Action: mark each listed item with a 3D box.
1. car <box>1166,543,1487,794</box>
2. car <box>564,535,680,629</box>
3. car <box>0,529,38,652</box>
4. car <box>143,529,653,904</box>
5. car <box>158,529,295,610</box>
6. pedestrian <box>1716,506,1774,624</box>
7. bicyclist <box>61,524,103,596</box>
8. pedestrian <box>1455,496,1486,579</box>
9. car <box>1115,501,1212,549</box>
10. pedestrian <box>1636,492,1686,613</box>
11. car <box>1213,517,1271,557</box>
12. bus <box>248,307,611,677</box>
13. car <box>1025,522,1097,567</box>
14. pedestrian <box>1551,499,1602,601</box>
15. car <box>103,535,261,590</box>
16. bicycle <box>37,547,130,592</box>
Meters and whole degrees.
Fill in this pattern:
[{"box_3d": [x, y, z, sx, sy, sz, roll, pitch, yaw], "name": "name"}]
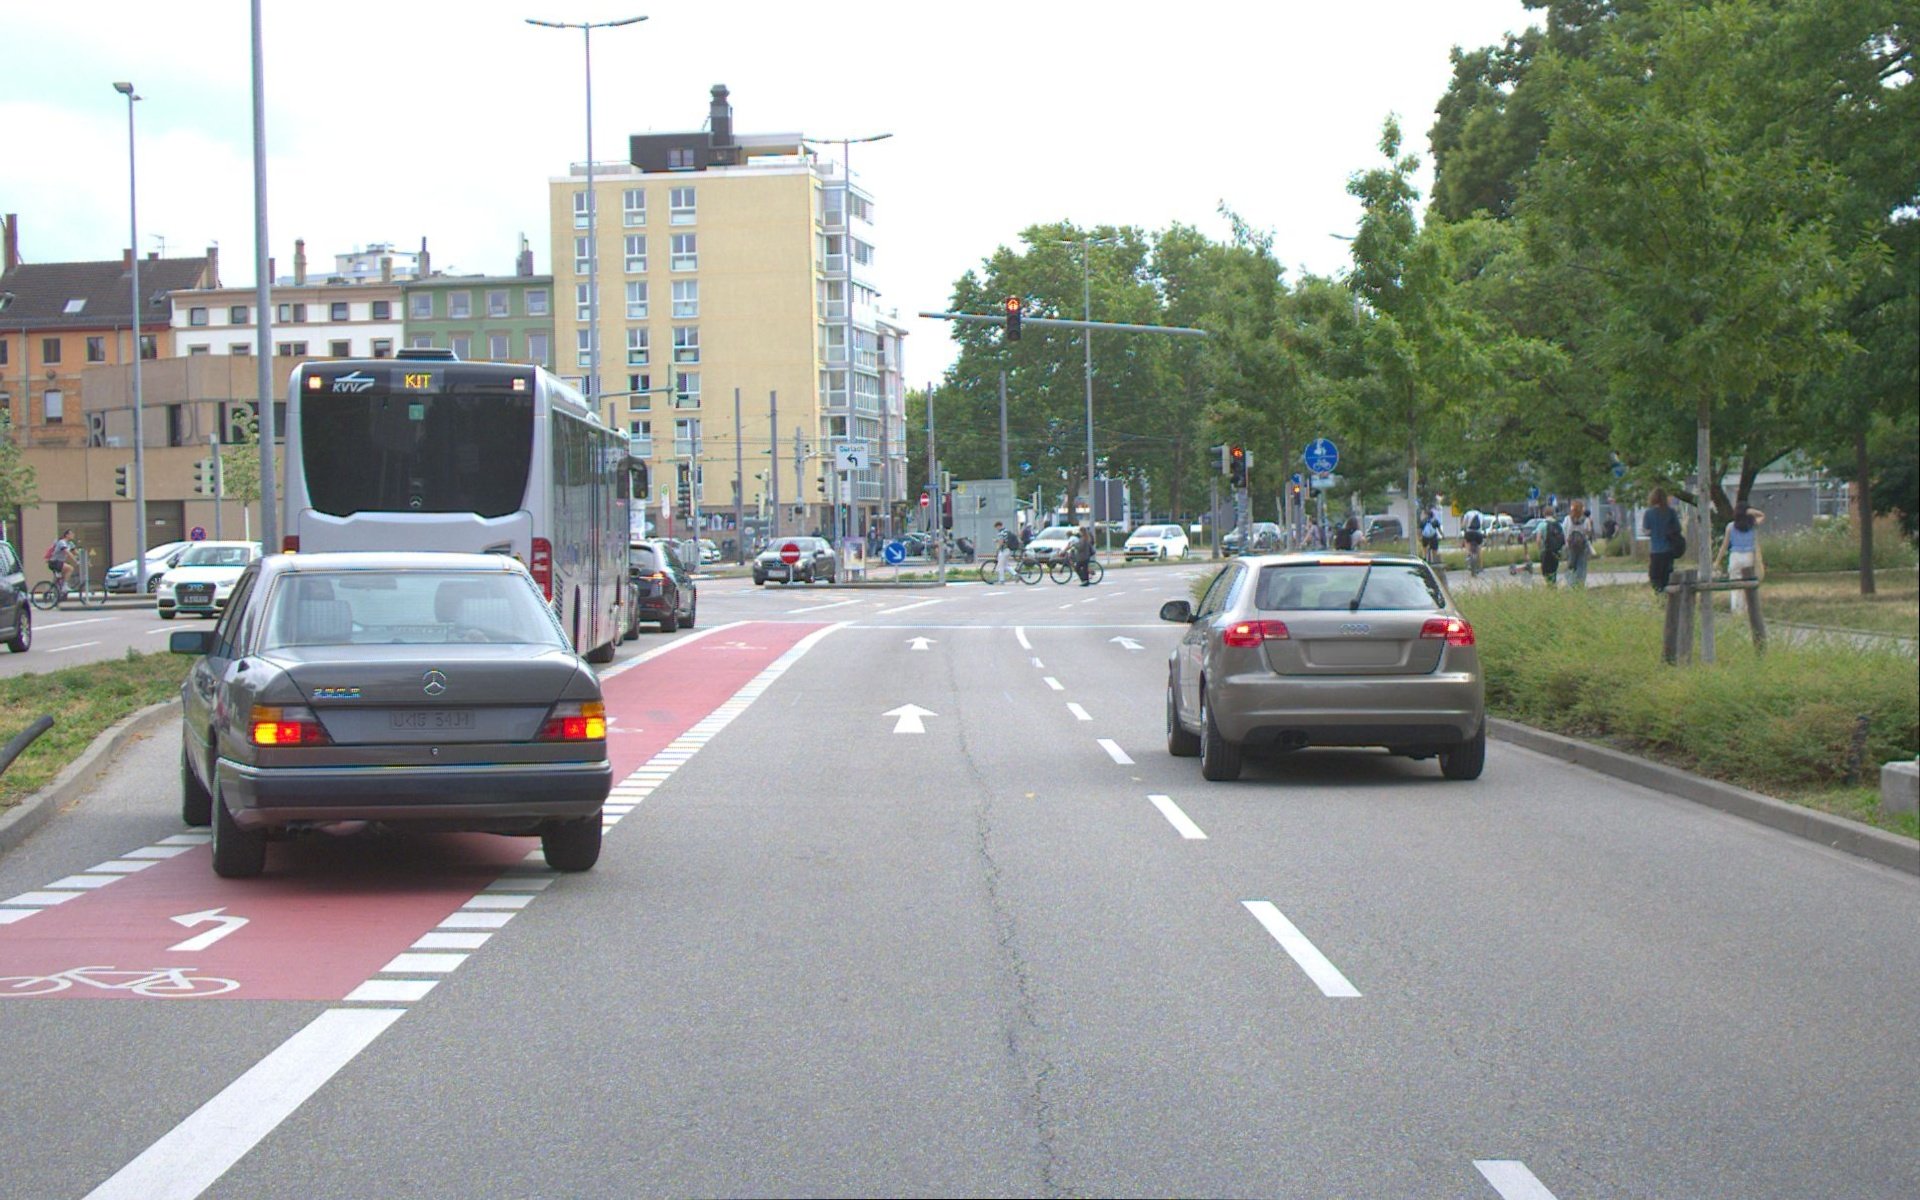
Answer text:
[{"box_3d": [2.323, 0.382, 22.604, 1.724, 1.452, 3.736, -1, 1, 1], "name": "car"}, {"box_3d": [-5.335, -0.311, 54.643, 1.655, 1.391, 3.861, -1, 1, -3], "name": "car"}, {"box_3d": [-13.963, -0.075, 46.529, 1.801, 1.660, 4.301, -3, 1, -1], "name": "car"}, {"box_3d": [-2.768, 0.427, 16.154, 1.761, 1.484, 4.172, -2, 2, -17], "name": "car"}, {"box_3d": [-13.505, -0.581, 63.520, 1.670, 1.384, 3.923, -2, 1, 0], "name": "car"}, {"box_3d": [9.951, -0.446, 43.572, 0.657, 1.465, 0.561, -1, 1, 16], "name": "pedestrian"}, {"box_3d": [-20.116, -0.921, 78.786, 0.786, 1.637, 0.614, -1, 1, -3], "name": "bicyclist"}, {"box_3d": [12.431, -1.528, 83.718, 0.614, 2.007, 0.597, -1, 1, -2], "name": "pedestrian"}, {"box_3d": [9.310, -3.434, 156.892, 2.586, 2.102, 5.594, 0, 1, 24], "name": "car"}, {"box_3d": [10.030, -0.683, 49.184, 0.647, 1.707, 0.561, -1, 1, 14], "name": "pedestrian"}, {"box_3d": [13.688, -3.068, 166.640, 1.808, 1.844, 3.997, -1, 1, 19], "name": "car"}, {"box_3d": [-5.320, -1.109, 35.915, 2.831, 3.378, 8.184, -1, 2, -3], "name": "bus"}, {"box_3d": [3.959, -2.179, 134.156, 1.995, 1.697, 3.998, -1, 1, 13], "name": "car"}, {"box_3d": [10.498, -0.855, 58.512, 0.802, 1.707, 0.764, -1, 1, 12], "name": "pedestrian"}, {"box_3d": [-20.032, -0.972, 88.545, 3.672, 1.389, 1.585, 0, 1, -28], "name": "car"}, {"box_3d": [-20.082, -0.702, 78.795, 1.964, 0.978, 0.631, -1, 1, -3], "name": "bicycle"}]
